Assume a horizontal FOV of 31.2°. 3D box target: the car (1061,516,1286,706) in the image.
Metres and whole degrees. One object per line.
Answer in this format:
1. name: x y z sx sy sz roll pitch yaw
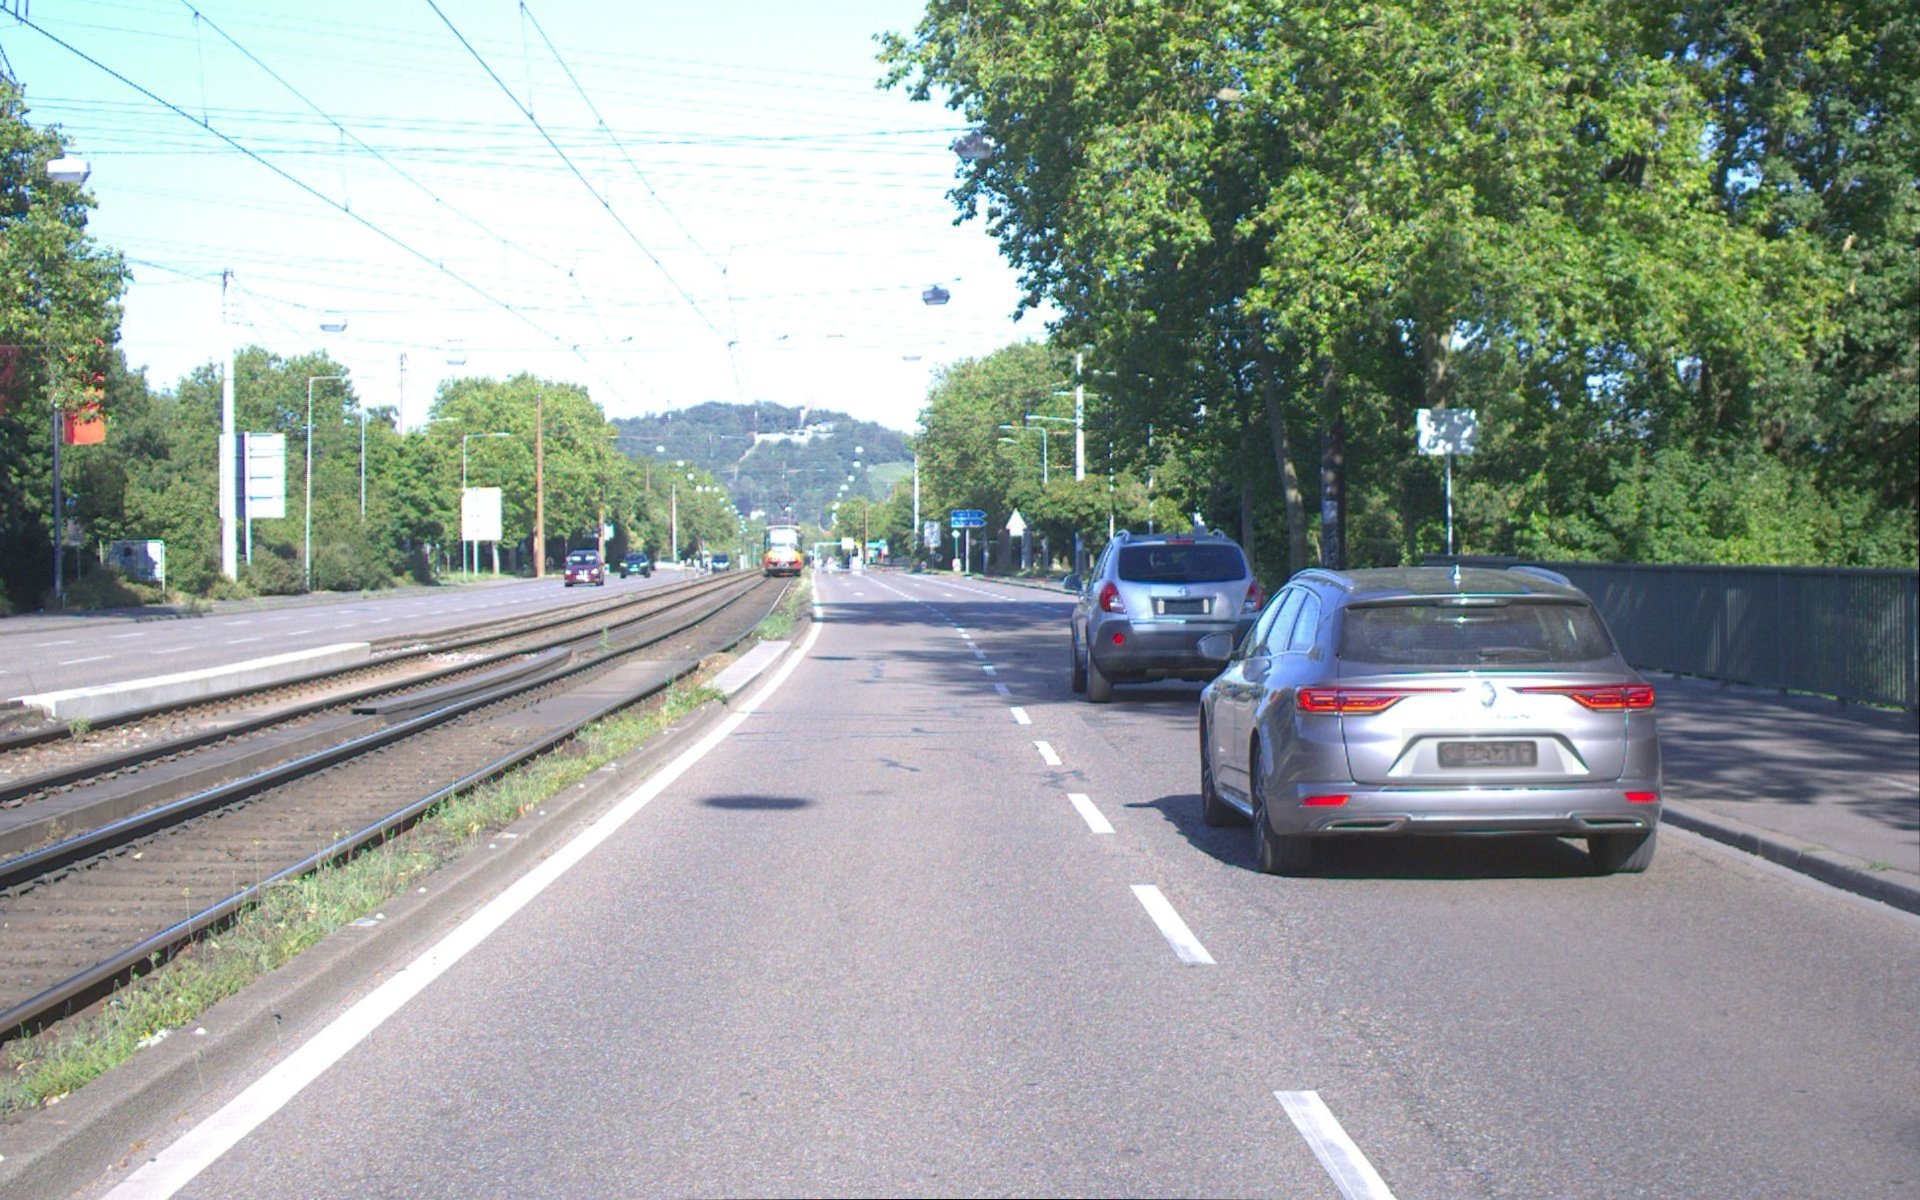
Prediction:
1. car: 2.145 0.059 35.635 1.883 1.789 4.001 2 1 -2

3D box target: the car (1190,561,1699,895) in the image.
1. car: 2.289 0.540 17.482 1.866 1.462 4.666 0 1 -1

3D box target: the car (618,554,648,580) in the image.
1. car: -22.196 -2.255 233.364 1.905 1.638 4.001 2 1 -4

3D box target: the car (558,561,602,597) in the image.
1. car: -19.017 -1.072 172.268 1.862 1.714 4.001 0 2 -2
